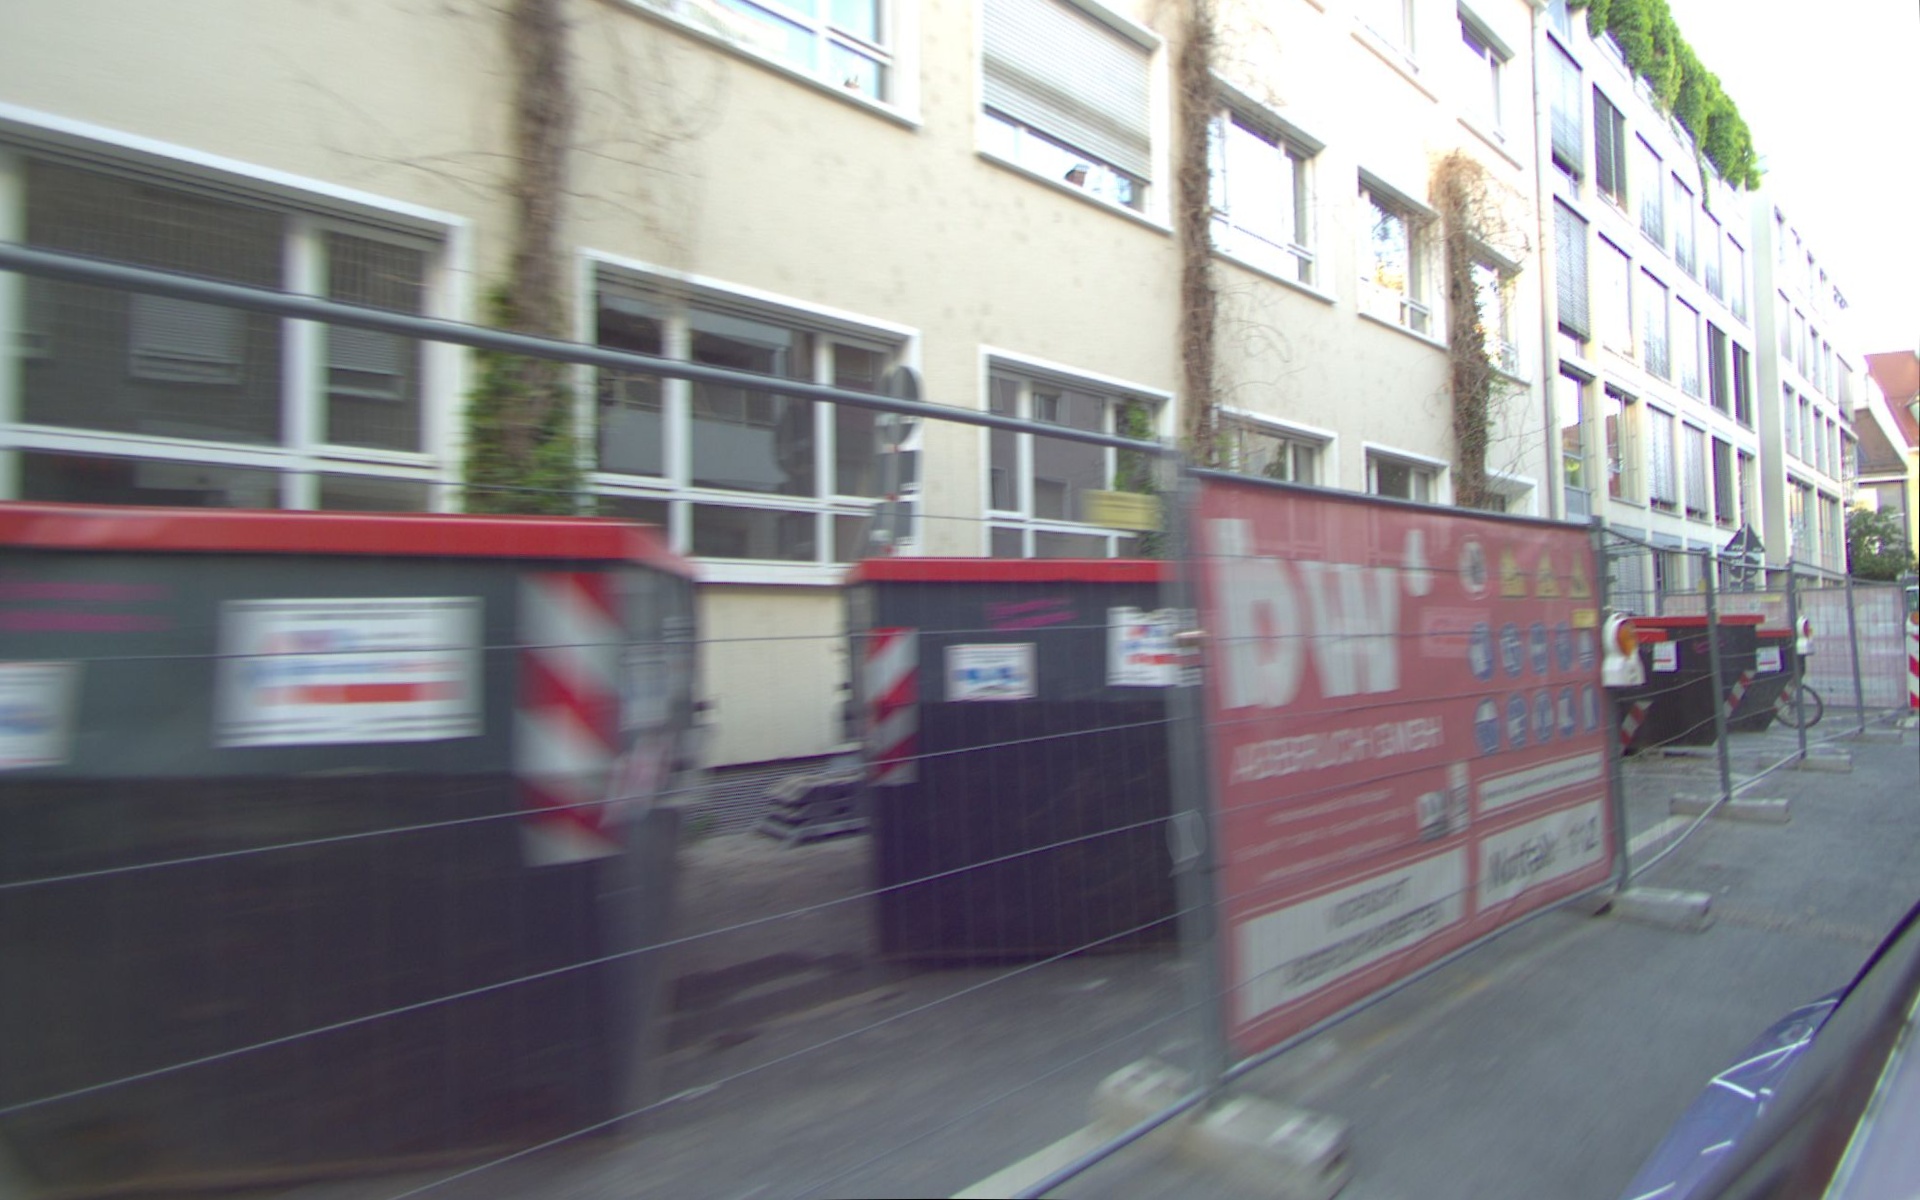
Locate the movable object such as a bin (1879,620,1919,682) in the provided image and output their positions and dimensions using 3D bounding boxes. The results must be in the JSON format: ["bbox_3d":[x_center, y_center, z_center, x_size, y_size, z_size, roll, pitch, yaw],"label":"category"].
[{"bbox_3d":[21.897,1.097,22.645,3.713,1.310,1.491,1,-4,-41],"label":"movable object such as a bin"}]

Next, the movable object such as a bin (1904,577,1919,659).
[{"bbox_3d":[33.588,0.562,34.059,4.296,2.681,2.094,1,-4,-41],"label":"movable object such as a bin"}]

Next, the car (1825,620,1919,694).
[{"bbox_3d":[17.946,1.046,19.410,3.713,1.310,1.491,1,-4,-41],"label":"car"}]

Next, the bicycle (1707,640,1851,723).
[{"bbox_3d":[11.808,1.146,14.673,0.463,1.096,1.777,0,-2,-6],"label":"bicycle"}]
